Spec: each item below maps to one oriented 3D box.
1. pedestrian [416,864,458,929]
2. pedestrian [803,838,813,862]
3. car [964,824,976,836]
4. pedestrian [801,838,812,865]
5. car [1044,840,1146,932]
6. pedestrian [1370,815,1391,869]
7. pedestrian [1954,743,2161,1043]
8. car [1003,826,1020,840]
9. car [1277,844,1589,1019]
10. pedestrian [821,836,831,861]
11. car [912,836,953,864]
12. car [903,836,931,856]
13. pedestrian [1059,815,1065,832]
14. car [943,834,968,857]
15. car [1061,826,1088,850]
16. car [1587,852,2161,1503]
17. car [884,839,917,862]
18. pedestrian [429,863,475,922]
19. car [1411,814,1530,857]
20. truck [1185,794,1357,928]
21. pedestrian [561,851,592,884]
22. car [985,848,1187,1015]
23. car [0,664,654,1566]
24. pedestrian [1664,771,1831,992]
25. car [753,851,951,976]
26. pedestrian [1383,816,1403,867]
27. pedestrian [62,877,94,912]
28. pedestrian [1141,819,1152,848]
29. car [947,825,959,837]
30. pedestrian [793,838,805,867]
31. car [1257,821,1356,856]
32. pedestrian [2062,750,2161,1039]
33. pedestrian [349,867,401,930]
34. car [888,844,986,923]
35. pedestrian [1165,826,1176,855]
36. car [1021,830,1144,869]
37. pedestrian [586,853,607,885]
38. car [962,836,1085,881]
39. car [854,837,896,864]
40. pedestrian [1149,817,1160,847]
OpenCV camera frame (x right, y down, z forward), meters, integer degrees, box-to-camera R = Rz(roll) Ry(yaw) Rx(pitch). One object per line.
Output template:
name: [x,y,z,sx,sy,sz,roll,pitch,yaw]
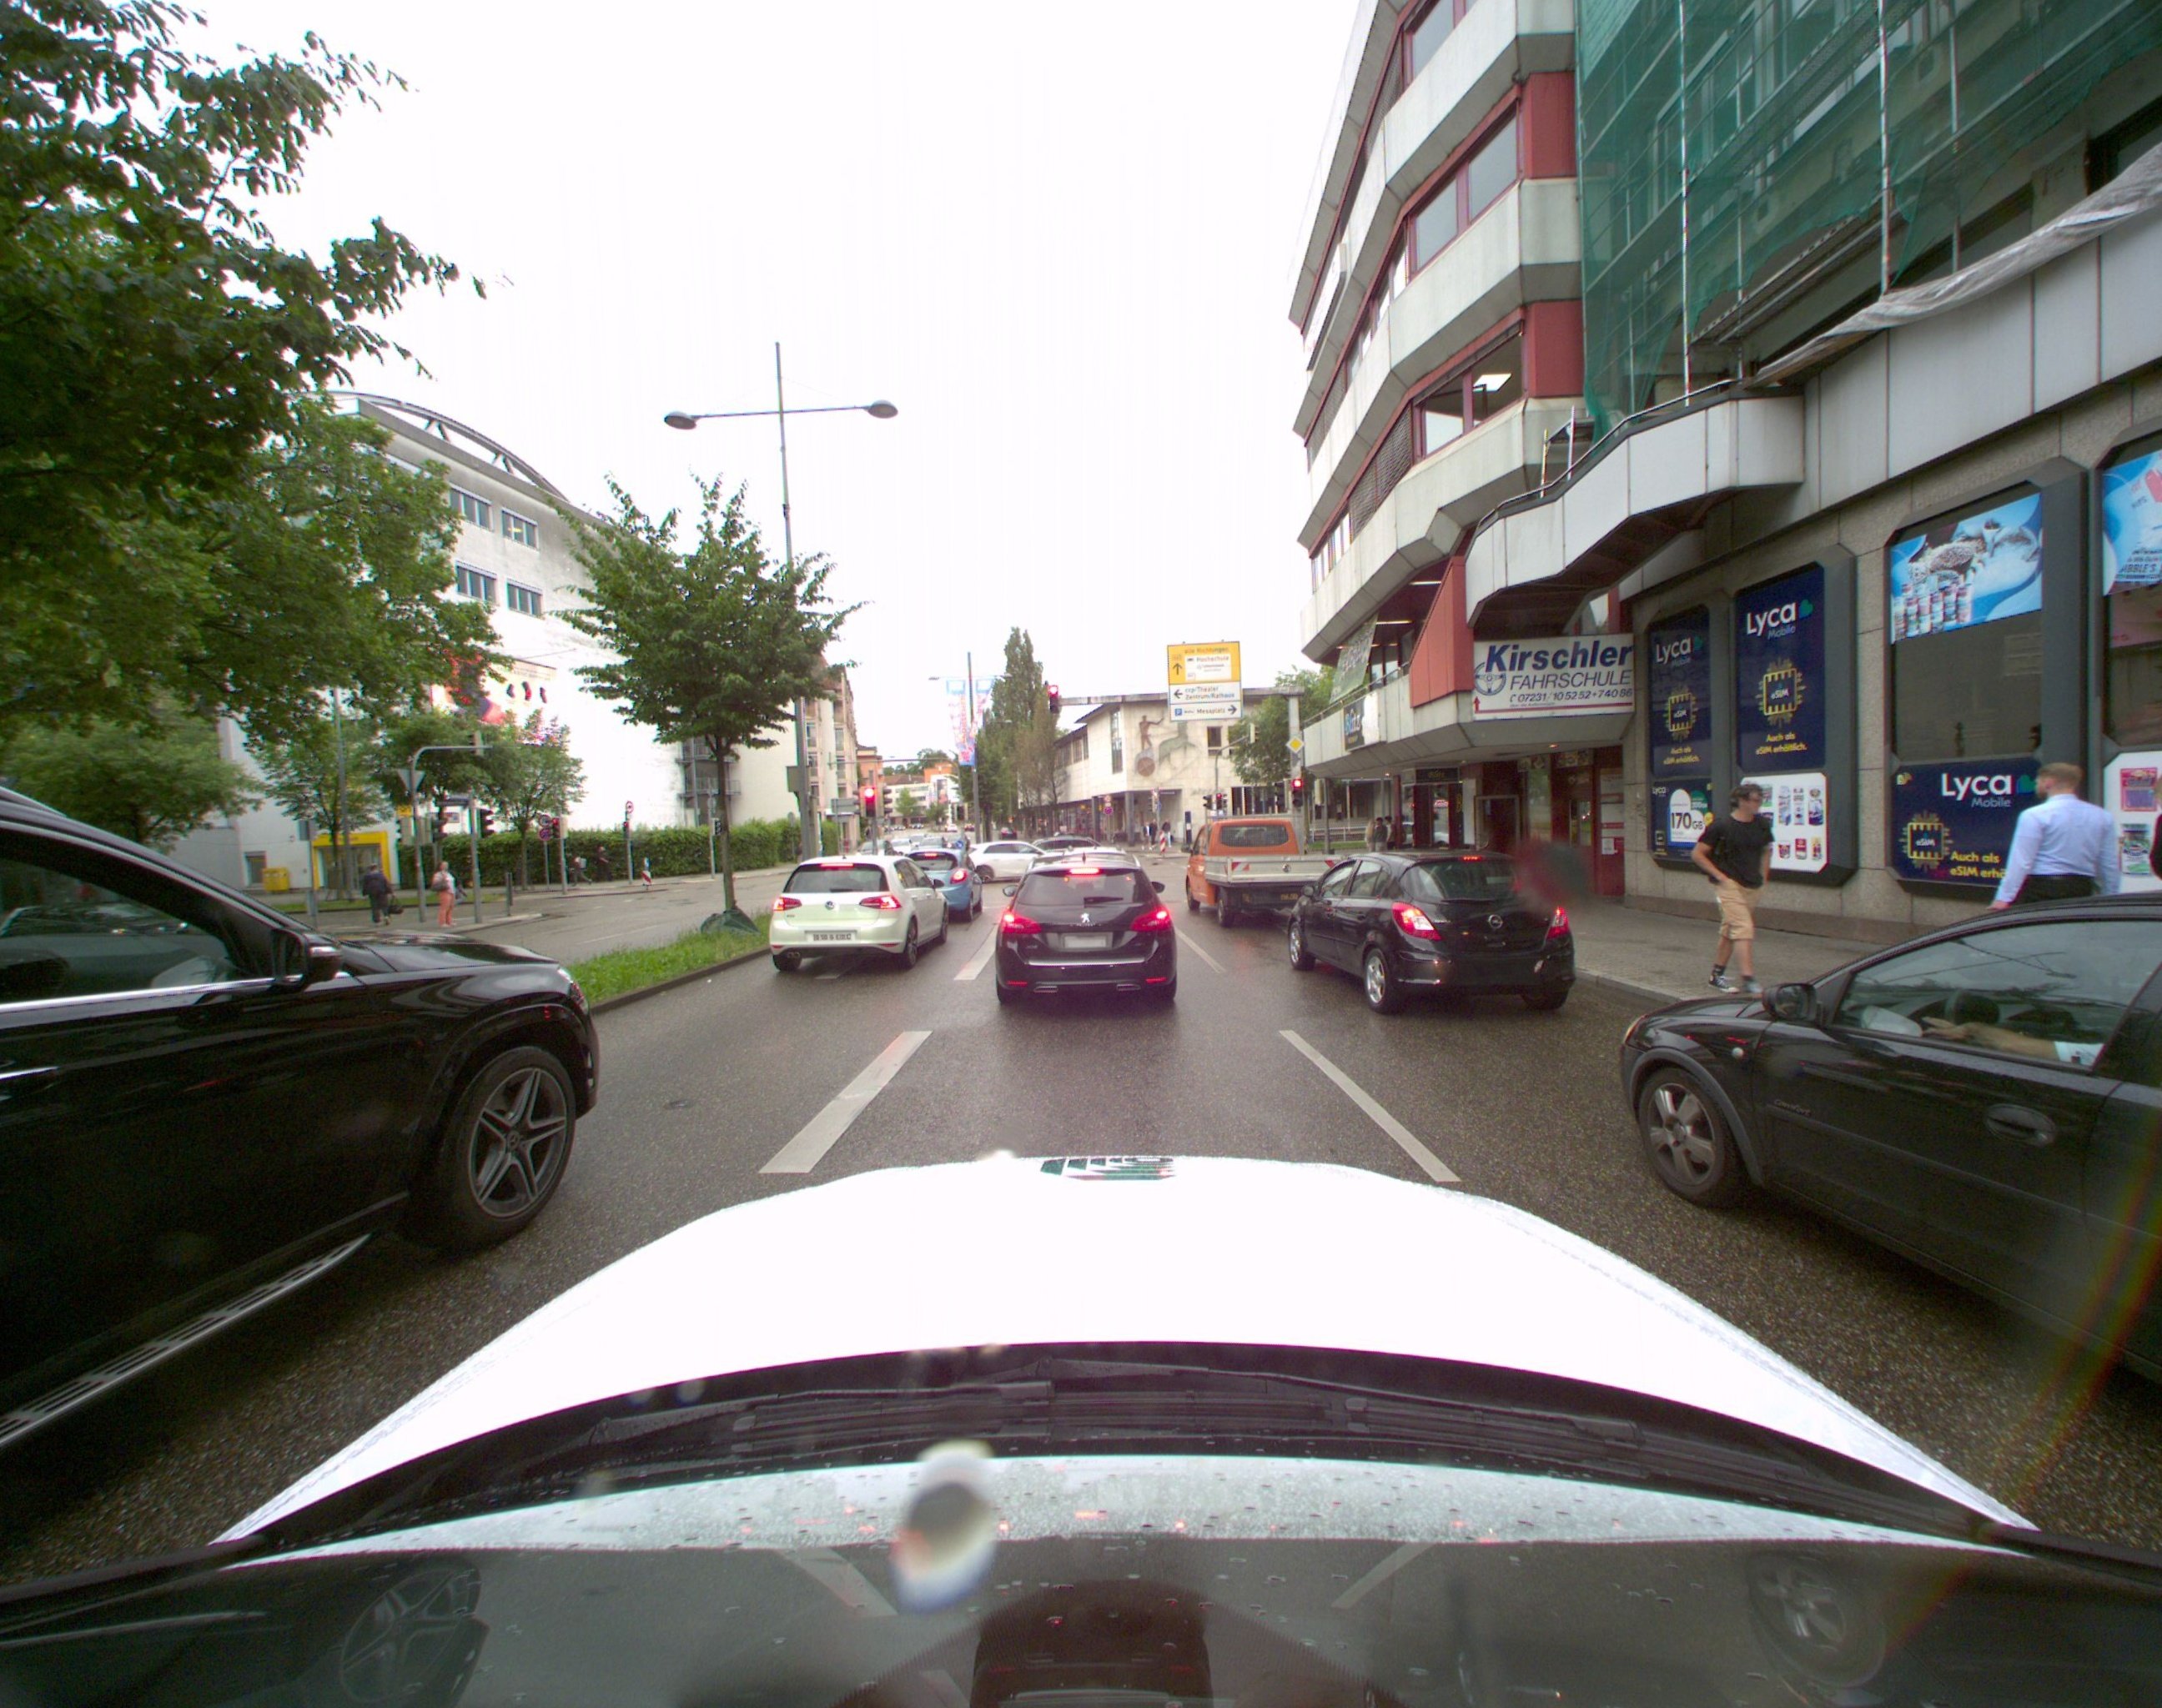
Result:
pedestrian: [-17.093,1.126,21.634,0.555,1.661,0.580,-2,2,2]
pedestrian: [-18.943,-0.280,56.542,0.579,1.599,0.526,-1,-1,-5]
car: [-20.237,-4.347,148.064,1.709,1.936,3.979,0,-1,-15]
pedestrian: [-17.590,-0.160,52.223,0.538,1.748,0.564,-1,-1,-3]
car: [0.292,0.504,15.465,1.690,1.486,3.795,-1,1,2]
pedestrian: [9.627,-0.379,26.184,0.424,1.682,0.450,-3,-1,0]
pedestrian: [6.740,0.256,5.600,0.733,1.935,0.640,-1,-1,1]
car: [-8.358,-2.509,97.292,1.724,1.490,4.719,-1,-1,-8]
car: [3.398,0.619,8.697,1.611,1.429,3.840,-1,1,-1]
pedestrian: [-17.882,-0.352,57.140,0.595,1.728,0.655,-1,-1,-7]
car: [-8.749,-0.212,48.286,1.739,1.579,3.997,-1,-1,-1]
car: [-12.393,-0.636,61.815,1.630,1.486,3.604,-1,1,-4]
pedestrian: [-2.081,-3.300,88.284,0.469,1.748,0.537,0,-1,-19]
car: [-9.497,-0.631,61.764,1.743,1.640,3.988,0,-1,-9]
car: [-0.477,-1.192,57.551,1.782,1.454,4.506,-4,3,-1]
car: [3.266,0.740,2.279,1.600,1.429,3.626,-1,1,3]
car: [-12.015,-0.276,54.458,1.630,1.486,3.604,-1,1,-4]
pedestrian: [-18.439,1.119,23.882,0.750,1.661,0.628,-2,2,1]
car: [16.084,-0.776,33.712,4.226,1.565,1.699,-3,1,-9]
truck: [3.431,0.061,15.858,2.170,2.172,5.020,-1,1,0]
pedestrian: [-24.635,0.660,39.798,1.059,1.578,0.683,-1,-1,-3]
car: [0.047,0.675,9.129,1.772,1.429,3.842,-1,1,0]
car: [-3.201,0.549,1.674,1.905,1.870,5.073,-1,-1,1]
pedestrian: [5.901,0.238,7.269,0.736,1.816,0.776,-6,-1,13]
car: [-3.037,0.704,11.639,1.772,1.429,3.840,-1,1,-1]
pedestrian: [10.157,-0.398,26.549,0.395,1.640,0.504,-3,-1,2]
pedestrian: [-48.601,1.950,39.461,0.633,1.643,0.735,-1,-1,8]
pedestrian: [4.178,-1.303,51.904,0.633,1.758,0.735,-1,-1,8]
car: [-23.085,-4.178,146.875,1.709,1.882,3.979,0,-1,-15]
pedestrian: [-17.517,-0.080,50.648,0.538,1.748,0.745,-1,-1,-7]
car: [9.849,-0.671,35.666,3.896,1.486,1.617,0,-1,-11]
pedestrian: [7.553,0.247,5.551,0.733,1.934,0.640,-5,-1,1]
pedestrian: [-20.403,1.288,23.548,0.917,1.784,0.712,-1,-1,13]
car: [-3.008,0.551,17.623,1.629,1.486,3.606,-1,1,-3]
pedestrian: [5.829,-0.880,53.087,0.633,1.897,0.735,-1,-1,8]
car: [0.060,-0.213,33.129,4.732,1.486,1.630,-1,1,-16]
pedestrian: [-24.595,0.756,41.346,0.730,1.643,0.638,-1,-1,-6]
car: [-2.114,0.134,29.538,4.294,1.486,1.632,-1,1,-11]
car: [-12.025,-0.232,47.630,1.569,1.486,3.608,-1,1,-1]
pedestrian: [4.800,-1.411,53.226,0.633,1.897,0.735,-1,-1,8]
